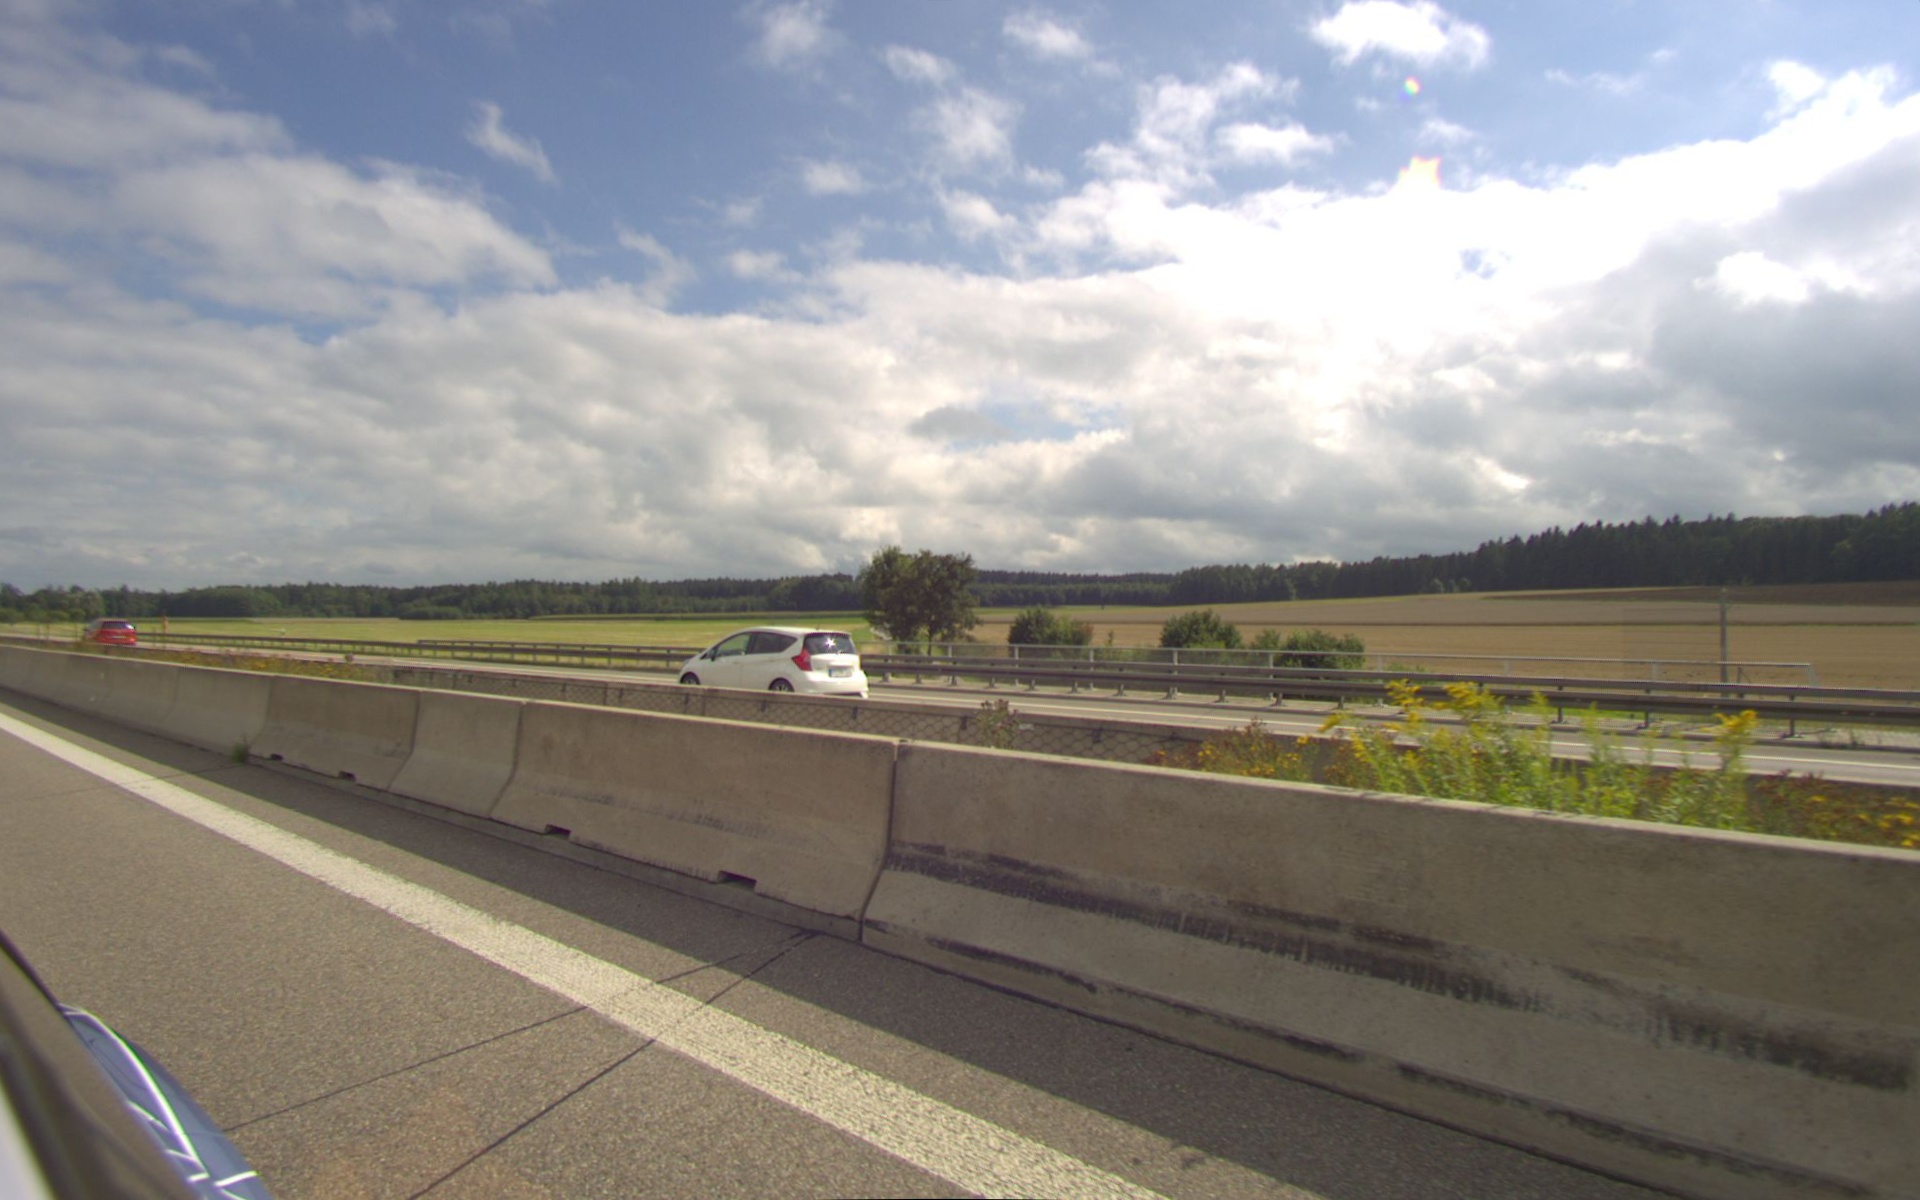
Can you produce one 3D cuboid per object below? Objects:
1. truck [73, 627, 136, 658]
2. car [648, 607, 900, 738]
[{"bbox_3d":[-46.543,2.292,55.026,4.977,1.586,1.690,-2,-4,40],"label":"truck"},{"bbox_3d":[-3.470,1.214,18.389,4.707,2.086,1.973,-1,-3,40],"label":"car"}]
